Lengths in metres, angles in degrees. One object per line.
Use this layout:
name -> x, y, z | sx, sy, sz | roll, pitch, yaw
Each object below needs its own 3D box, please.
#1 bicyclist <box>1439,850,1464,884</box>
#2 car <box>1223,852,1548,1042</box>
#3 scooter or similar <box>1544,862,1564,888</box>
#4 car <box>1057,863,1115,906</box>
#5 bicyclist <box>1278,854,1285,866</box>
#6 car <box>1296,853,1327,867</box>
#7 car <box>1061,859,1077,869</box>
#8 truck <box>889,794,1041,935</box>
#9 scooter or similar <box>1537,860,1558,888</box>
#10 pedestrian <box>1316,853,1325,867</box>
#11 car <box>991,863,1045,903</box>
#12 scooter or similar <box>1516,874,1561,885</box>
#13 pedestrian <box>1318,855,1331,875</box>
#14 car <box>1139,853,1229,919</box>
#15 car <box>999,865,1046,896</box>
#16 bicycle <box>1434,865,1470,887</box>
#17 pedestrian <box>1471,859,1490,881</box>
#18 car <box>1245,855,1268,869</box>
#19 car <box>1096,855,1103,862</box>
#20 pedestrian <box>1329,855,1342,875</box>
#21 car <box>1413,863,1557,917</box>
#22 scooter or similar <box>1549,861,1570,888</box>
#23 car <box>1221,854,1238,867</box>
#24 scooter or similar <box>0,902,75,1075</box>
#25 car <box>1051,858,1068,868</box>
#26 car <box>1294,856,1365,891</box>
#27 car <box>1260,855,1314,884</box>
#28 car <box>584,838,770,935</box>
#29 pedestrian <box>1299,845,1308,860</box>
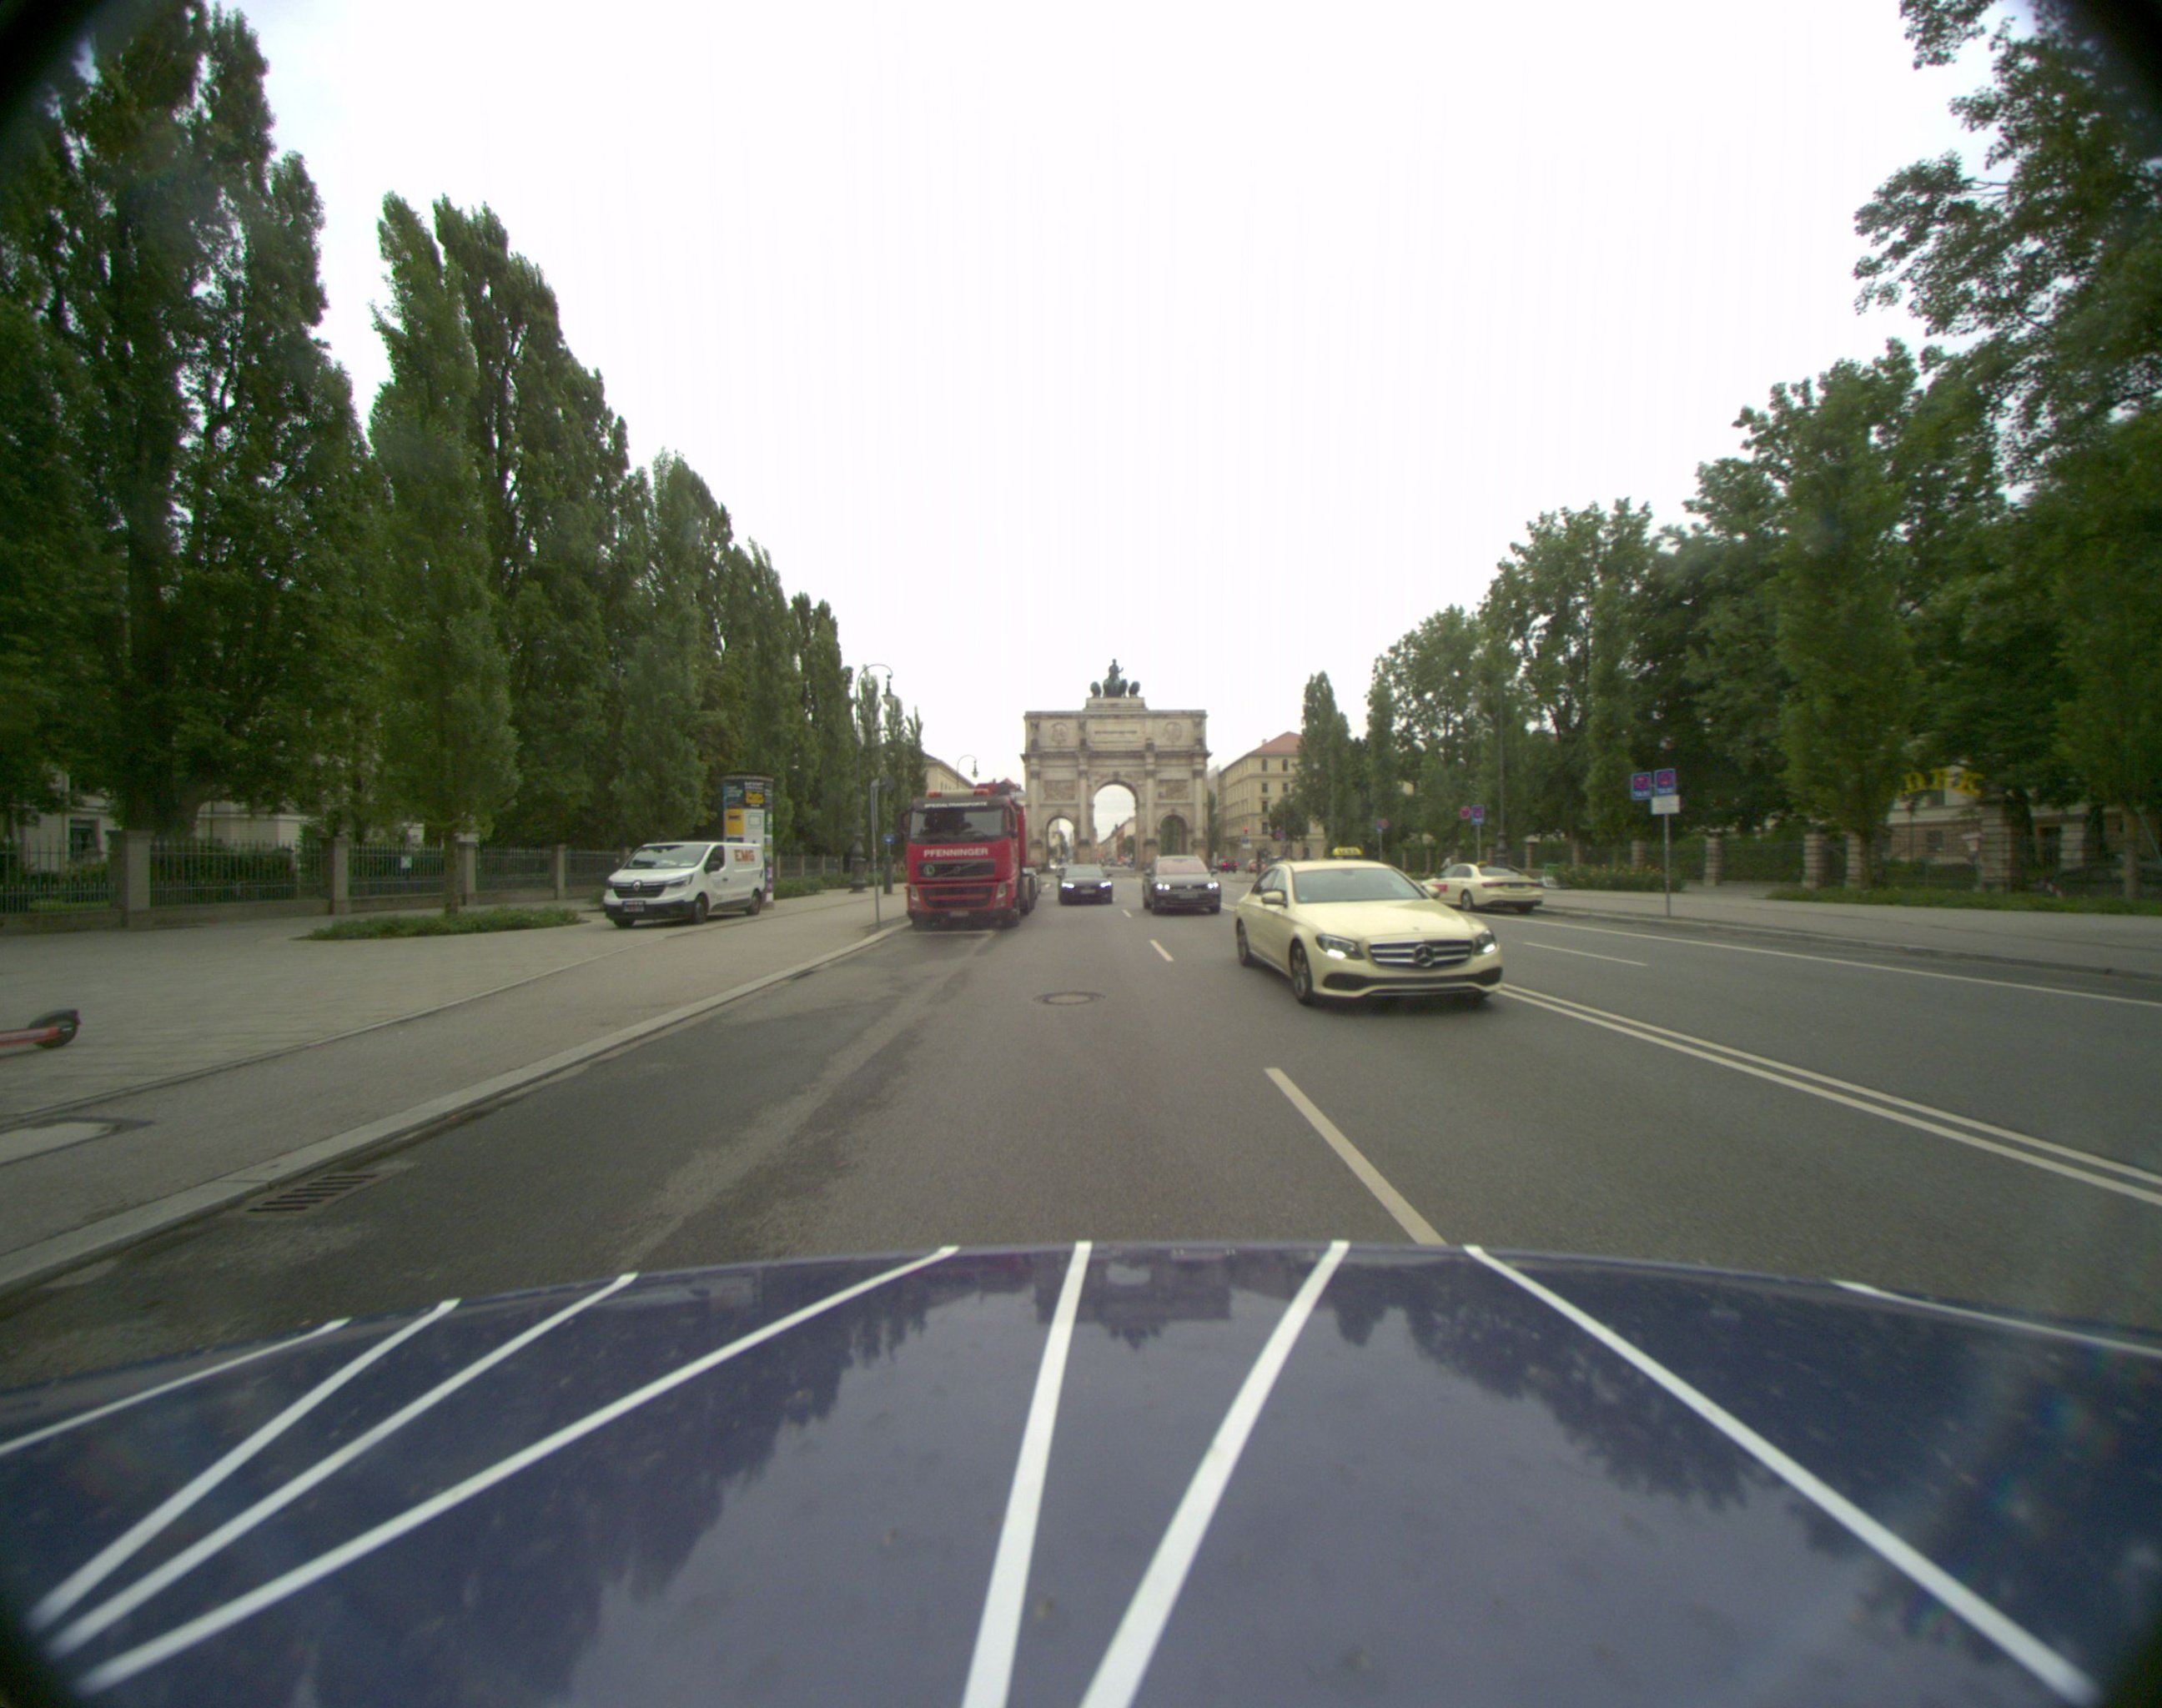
bicyclist -> 16.550, 0.563, 33.962 | 0.695, 1.489, 0.861 | 0, 0, -1
car -> 3.096, 0.805, 8.968 | 1.919, 1.566, 4.689 | -3, 0, 0
scooter or similar -> 21.499, 0.945, 34.552 | 0.243, 1.194, 1.122 | -1, 0, 0
car -> 0.108, 1.071, 28.093 | 1.923, 1.320, 4.410 | -3, 0, -2
bicyclist -> 28.418, 0.844, 107.595 | 0.643, 1.699, 0.859 | -1, 0, -6
car -> 34.423, 0.941, 113.602 | 3.997, 2.002, 2.000 | -1, 0, 0
car -> -2.319, 1.906, 142.397 | 1.785, 1.739, 4.326 | -1, 0, 16
truck -> -2.827, 0.247, 21.947 | 2.720, 3.091, 10.426 | -1, 0, 0
scooter or similar -> 21.227, 0.900, 34.555 | 0.258, 1.234, 1.141 | -1, 0, 1
pedestrian -> 30.457, 0.744, 96.640 | 0.914, 1.775, 0.754 | -1, 0, 5
car -> -2.484, 1.115, 30.674 | 1.792, 1.451, 4.217 | -2, 0, 0
scooter or similar -> 23.179, 1.291, 38.459 | 2.241, 0.515, 1.329 | 0, -1, -41
pedestrian -> 20.554, 0.950, 64.133 | 0.846, 1.668, 0.967 | -1, 0, 6
car -> 2.841, 0.831, 21.895 | 1.953, 1.615, 4.411 | -3, 0, 0
car -> -2.644, 1.177, 35.228 | 1.739, 1.302, 4.370 | -1, 0, 1
bicycle -> 16.565, 0.969, 33.976 | 0.709, 0.933, 1.735 | -1, 0, -1
pedestrian -> 24.744, 1.003, 47.080 | 0.578, 1.329, 0.838 | -1, 0, -27
car -> 23.715, 1.062, 102.782 | 2.004, 1.844, 4.990 | 1, 1, 2
car -> 5.671, 1.283, 228.989 | 1.999, 2.002, 4.394 | -1, 0, 0
pedestrian -> 21.383, 0.928, 63.778 | 0.846, 1.668, 0.967 | -1, 0, 6
car -> 12.227, 1.033, 23.417 | 1.935, 1.488, 4.791 | 0, -1, 1
scooter or similar -> 21.763, 0.939, 34.548 | 0.243, 1.194, 1.122 | -1, 0, 0
car -> 19.982, 0.907, 102.403 | 1.785, 1.662, 4.001 | -1, 0, 4
scooter or similar -> -8.170, 1.009, 5.433 | 0.337, 1.258, 1.186 | -1, 0, 1
car -> -3.789, 1.687, 137.032 | 1.785, 1.739, 4.326 | -1, 0, 16
car -> 12.335, 0.920, 38.040 | 1.942, 1.615, 4.964 | 0, 1, 0
car -> 12.087, 0.875, 44.842 | 1.823, 1.550, 4.858 | 1, 0, 0
car -> -9.431, 0.692, 18.289 | 1.885, 1.933, 4.884 | -2, 0, -1
pedestrian -> 29.785, -0.253, 101.624 | 0.796, 2.002, 0.754 | -1, 0, -35
